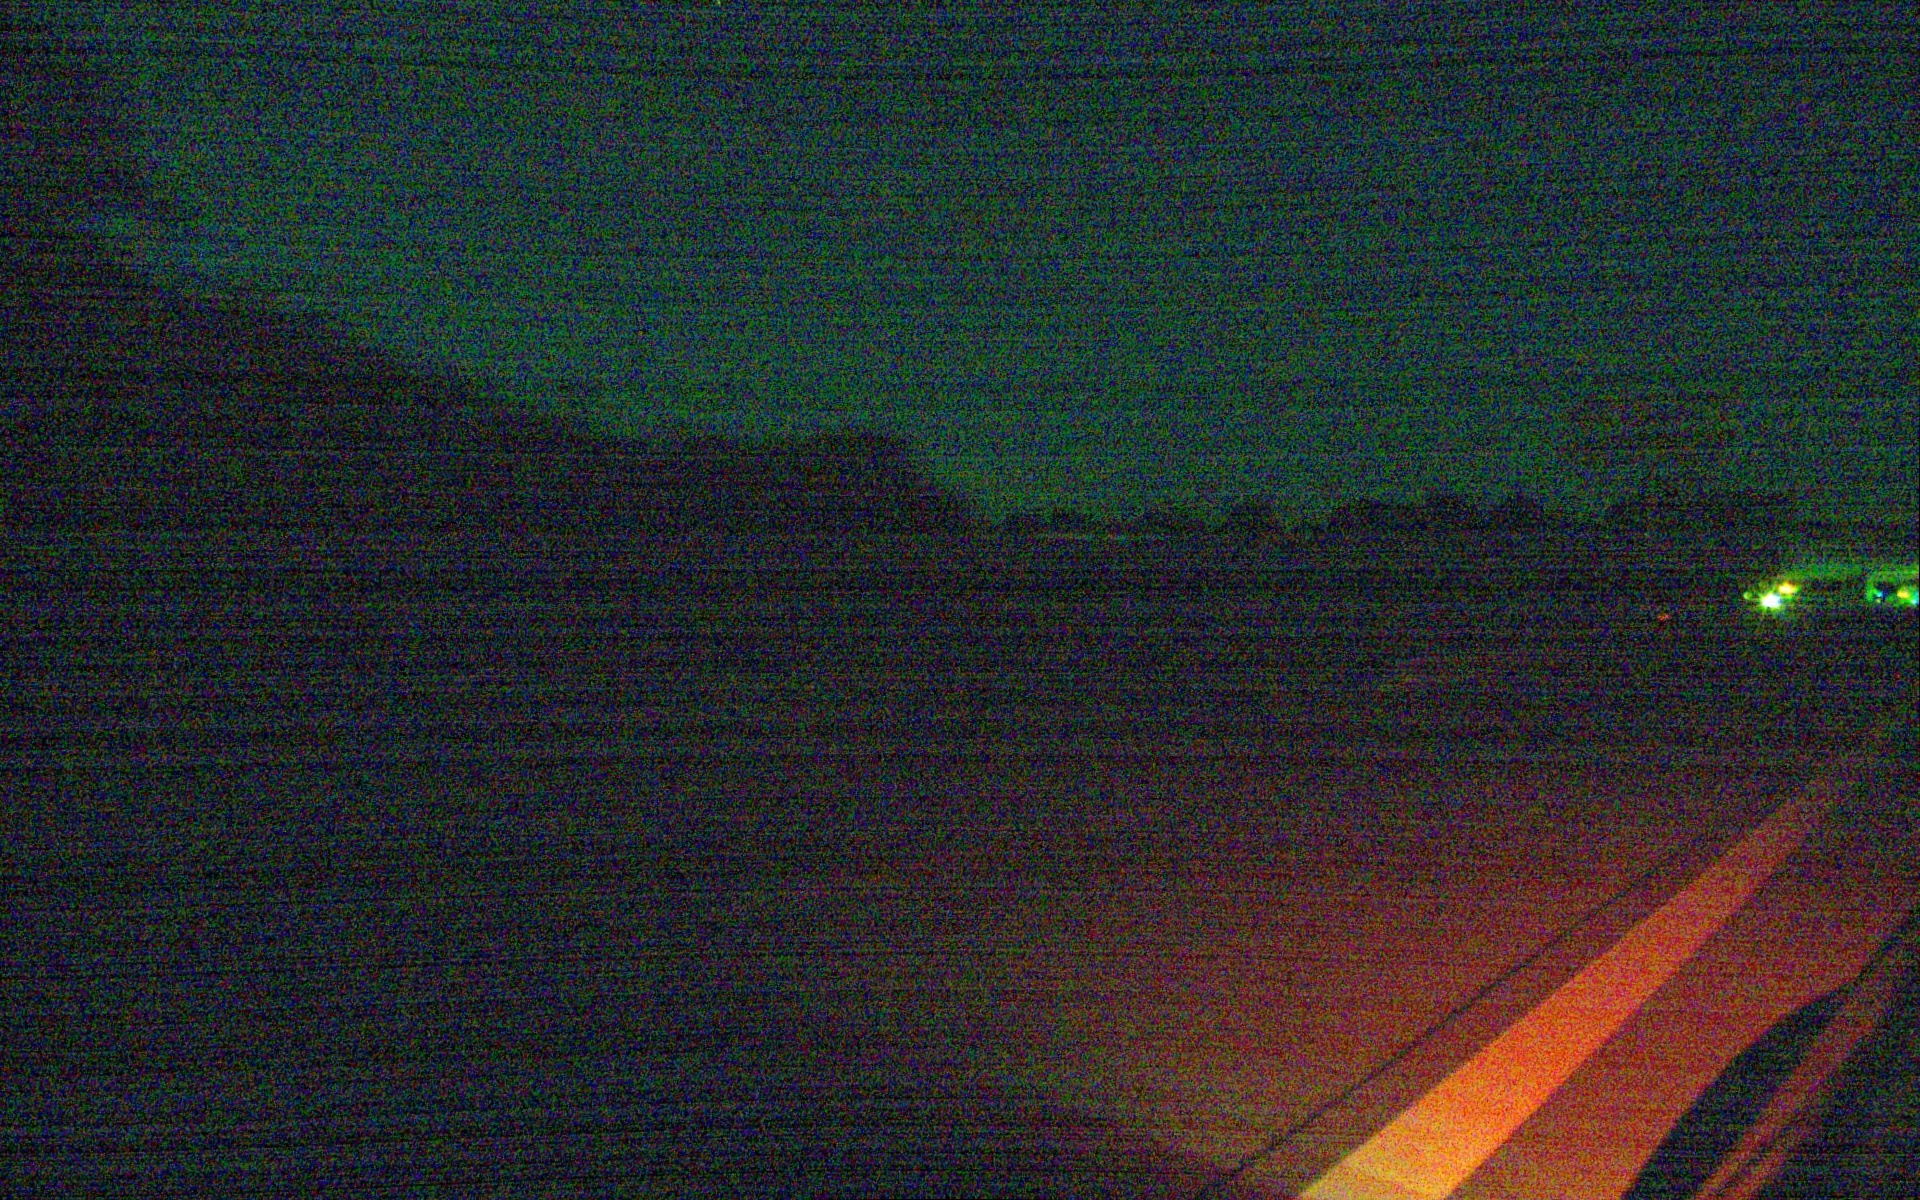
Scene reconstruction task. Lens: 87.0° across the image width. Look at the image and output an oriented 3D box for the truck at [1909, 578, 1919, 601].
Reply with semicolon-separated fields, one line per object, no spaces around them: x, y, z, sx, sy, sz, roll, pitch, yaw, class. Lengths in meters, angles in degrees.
180.478;-1.922;189.342;2.740;4.179;13.719;1;1;38;truck
